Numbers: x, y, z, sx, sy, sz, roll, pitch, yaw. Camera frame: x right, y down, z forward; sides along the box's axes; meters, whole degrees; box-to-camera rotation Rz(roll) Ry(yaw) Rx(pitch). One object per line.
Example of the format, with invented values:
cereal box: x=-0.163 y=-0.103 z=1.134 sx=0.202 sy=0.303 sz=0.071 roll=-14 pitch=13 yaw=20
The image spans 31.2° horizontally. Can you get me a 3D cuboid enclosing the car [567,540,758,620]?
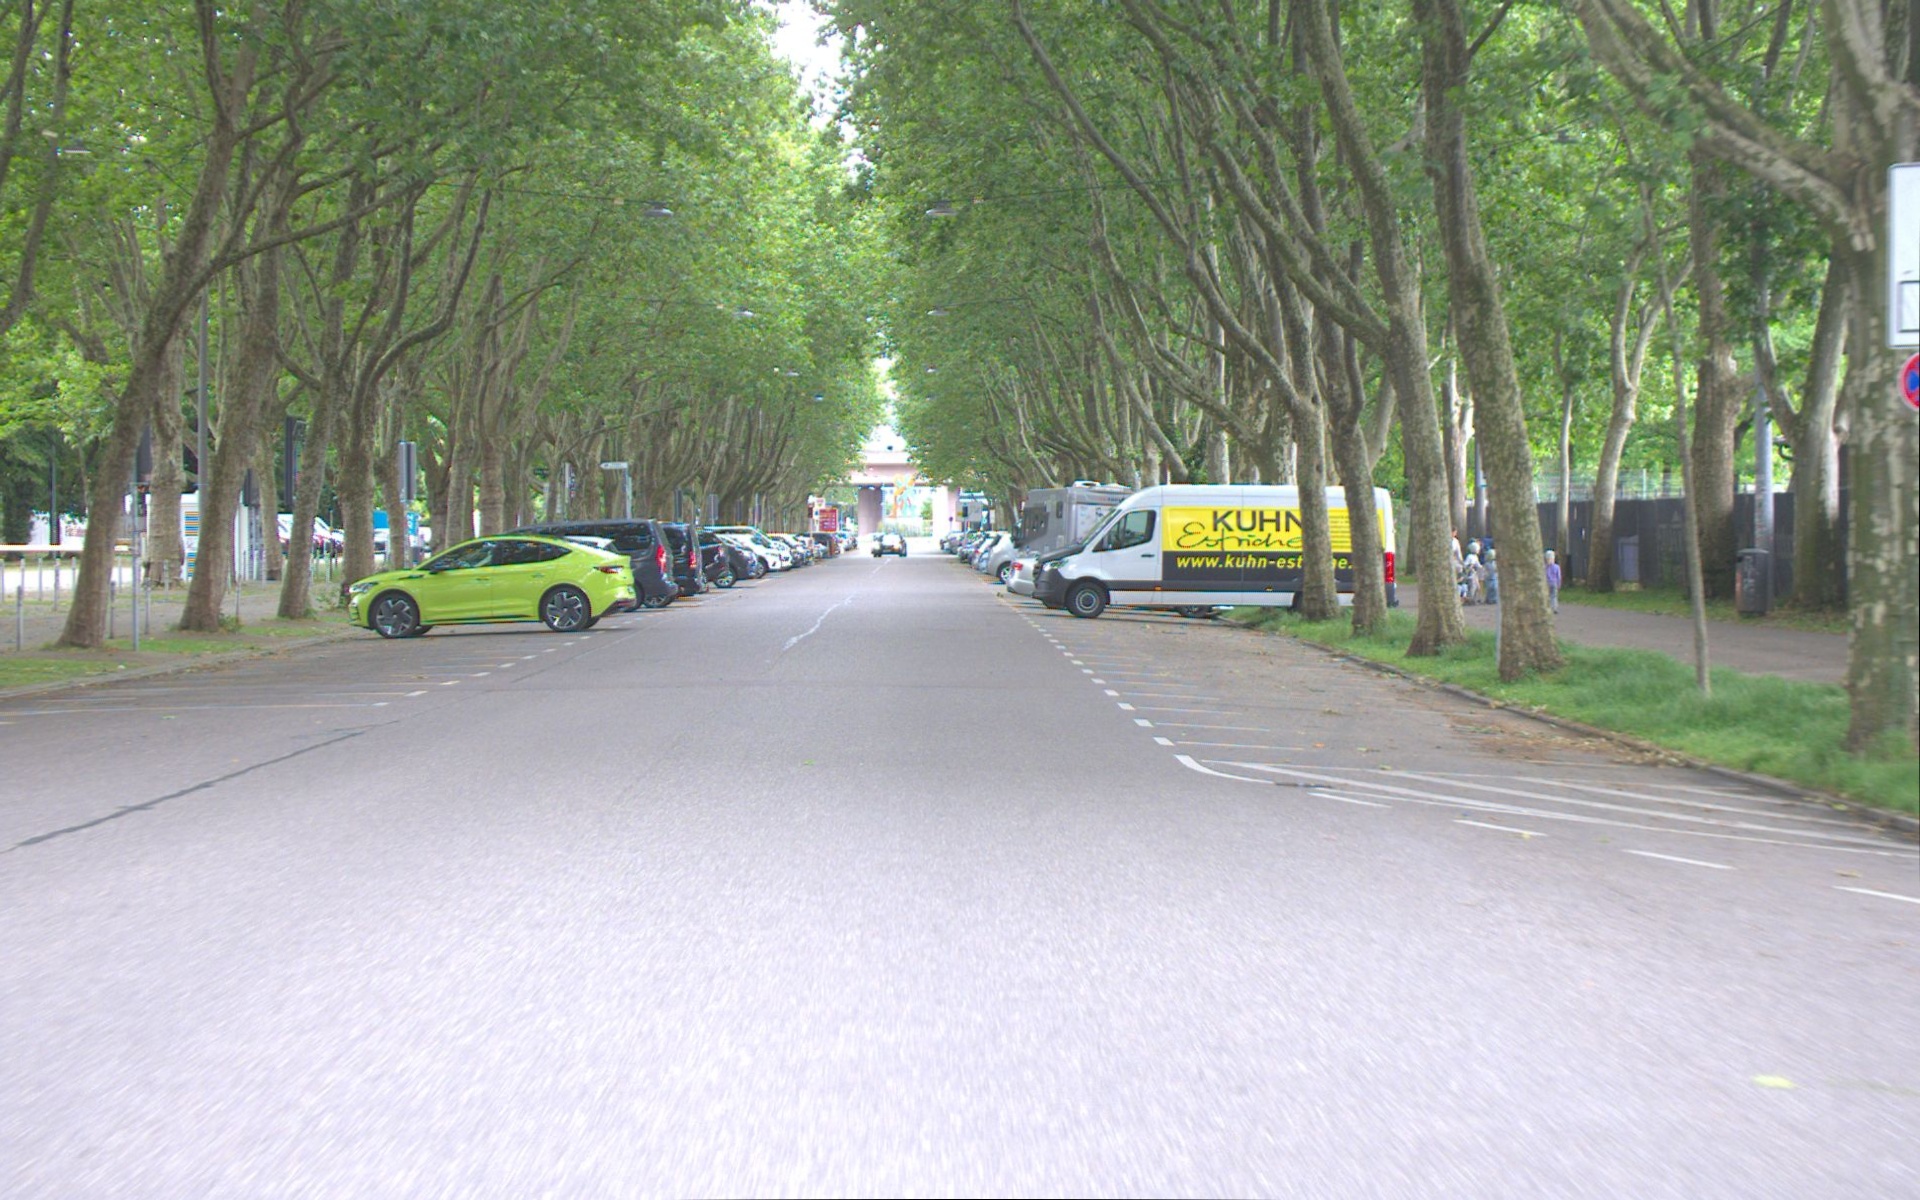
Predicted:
car: x=-8.722 y=-0.594 z=101.130 sx=5.435 sy=2.120 sz=1.940 roll=-2 pitch=2 yaw=-2

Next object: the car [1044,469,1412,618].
car: x=5.092 y=-1.080 z=66.024 sx=6.881 sy=2.686 sz=2.127 roll=1 pitch=1 yaw=1

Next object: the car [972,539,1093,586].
car: x=2.532 y=-1.294 z=119.810 sx=4.120 sy=1.424 sz=1.703 roll=3 pitch=0 yaw=1

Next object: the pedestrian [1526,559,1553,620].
pedestrian: x=10.423 y=-0.196 z=61.839 sx=0.395 sy=1.080 sz=0.419 roll=-2 pitch=1 yaw=3

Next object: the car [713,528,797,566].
car: x=-9.482 y=-2.458 z=159.269 sx=3.826 sy=1.622 sz=1.953 roll=-2 pitch=1 yaw=-3

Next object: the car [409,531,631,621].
car: x=-8.434 y=-0.473 z=66.146 sx=4.104 sy=1.563 sz=1.758 roll=-2 pitch=1 yaw=-5

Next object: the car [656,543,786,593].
car: x=-8.284 y=-1.132 z=119.483 sx=4.379 sy=1.591 sz=2.000 roll=-2 pitch=1 yaw=-2

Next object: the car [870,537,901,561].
car: x=-4.659 y=-3.161 z=213.453 sx=1.654 sy=1.359 sz=4.113 roll=-2 pitch=1 yaw=-4

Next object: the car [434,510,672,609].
car: x=-8.368 y=-0.843 z=70.964 sx=4.761 sy=1.917 sz=2.018 roll=-1 pitch=1 yaw=-5

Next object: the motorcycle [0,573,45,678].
motorcycle: x=-11.183 y=0.279 z=37.982 sx=0.574 sy=1.154 sz=2.072 roll=2 pitch=1 yaw=43

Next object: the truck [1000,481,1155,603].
truck: x=2.905 y=-1.479 z=87.290 sx=2.458 sy=2.928 sz=7.540 roll=1 pitch=1 yaw=-9

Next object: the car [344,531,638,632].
car: x=-7.609 y=-0.317 z=56.086 sx=4.516 sy=1.612 sz=1.758 roll=0 pitch=1 yaw=2

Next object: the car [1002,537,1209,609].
car: x=3.116 y=-0.583 z=73.588 sx=4.359 sy=1.440 sz=1.612 roll=1 pitch=1 yaw=3

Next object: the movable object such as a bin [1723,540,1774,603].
movable object such as a bin: x=12.416 y=-0.450 z=54.147 sx=0.568 sy=0.956 sz=0.675 roll=-5 pitch=1 yaw=-1

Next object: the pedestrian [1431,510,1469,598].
pedestrian: x=9.863 y=-0.927 z=69.245 sx=0.639 sy=1.735 sz=0.621 roll=-2 pitch=1 yaw=3

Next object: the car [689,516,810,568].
car: x=-8.705 y=-2.397 z=142.485 sx=4.893 sy=2.012 sz=1.920 roll=-2 pitch=1 yaw=-1

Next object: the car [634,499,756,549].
car: x=-9.794 y=-2.818 z=127.333 sx=4.340 sy=1.662 sz=2.000 roll=-2 pitch=1 yaw=-2

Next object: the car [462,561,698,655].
car: x=-8.317 y=0.156 z=75.641 sx=4.905 sy=1.917 sz=2.208 roll=-1 pitch=1 yaw=0

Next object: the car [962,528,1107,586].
car: x=2.285 y=-1.310 z=104.876 sx=4.340 sy=1.612 sz=1.803 roll=2 pitch=1 yaw=2
